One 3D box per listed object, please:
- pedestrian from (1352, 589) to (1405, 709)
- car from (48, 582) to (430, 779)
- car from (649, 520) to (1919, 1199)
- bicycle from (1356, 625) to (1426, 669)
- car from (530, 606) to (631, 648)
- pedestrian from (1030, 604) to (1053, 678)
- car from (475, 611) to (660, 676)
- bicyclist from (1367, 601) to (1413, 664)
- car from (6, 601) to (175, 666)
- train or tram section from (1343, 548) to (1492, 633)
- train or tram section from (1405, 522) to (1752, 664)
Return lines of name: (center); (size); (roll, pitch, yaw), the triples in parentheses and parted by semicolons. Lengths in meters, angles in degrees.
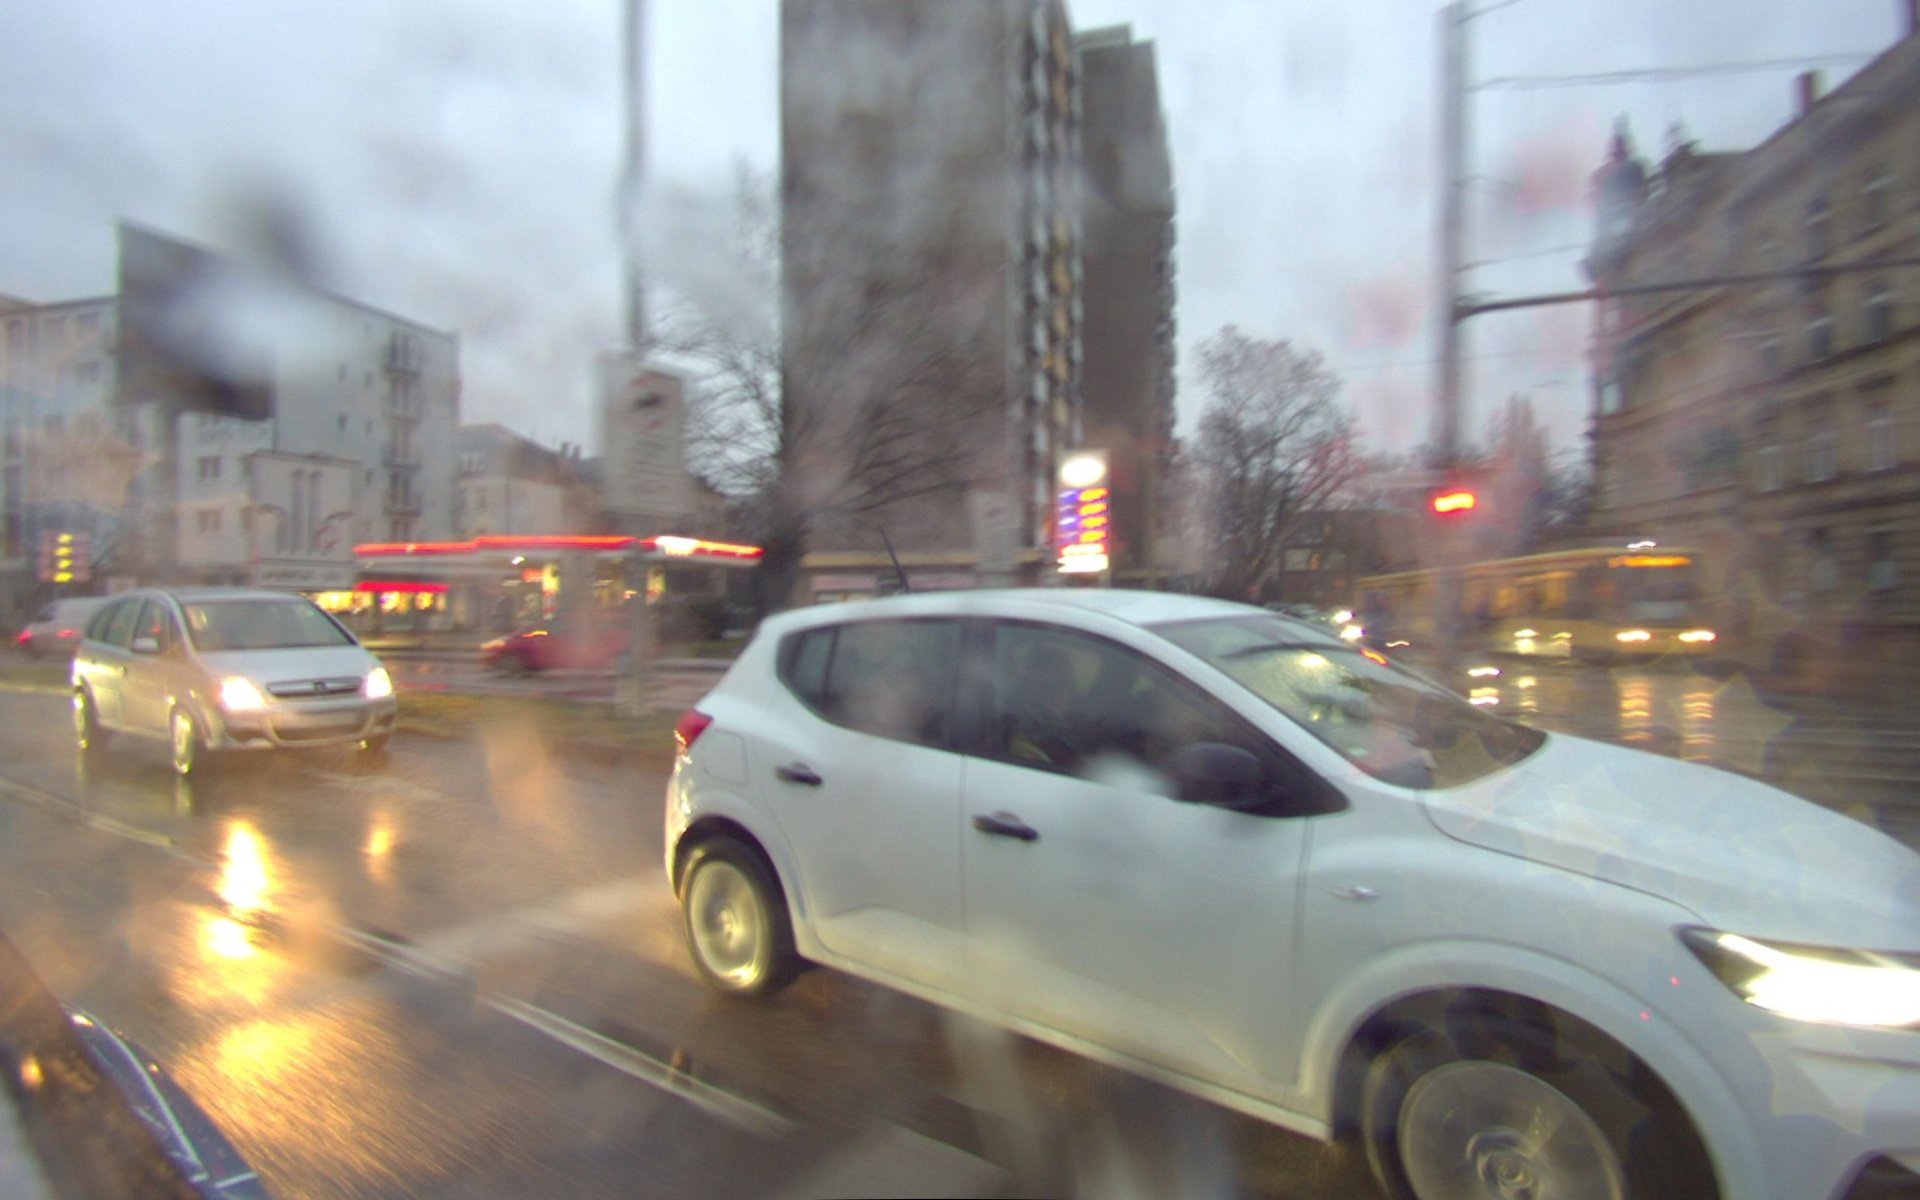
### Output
pedestrian: (6.363, 0.731, 15.388); (0.628, 1.785, 0.462); (0, 0, 40)
car: (-7.085, 0.650, 9.835); (4.097, 1.560, 1.632); (0, 0, 33)
car: (0.828, 0.659, 3.246); (3.997, 1.498, 1.609); (-1, -2, 40)
bicycle: (9.921, 1.061, 23.374); (0.498, 0.907, 1.989); (-1, 0, -9)
car: (-14.496, 1.013, 38.876); (1.761, 1.542, 3.984); (0, -1, 12)
pedestrian: (2.012, 0.997, 24.888); (0.526, 1.806, 0.627); (-1, 0, 6)
car: (-9.201, 0.999, 23.959); (3.791, 1.460, 1.652); (0, 0, -6)
bicyclist: (9.918, 0.737, 23.371); (0.498, 1.401, 0.971); (-1, 0, -9)
car: (-27.662, 1.066, 32.205); (4.820, 1.961, 1.986); (0, -3, 21)
train or tram section: (19.796, -0.419, 44.705); (3.134, 3.261, 11.119); (0, 1, 9)
train or tram section: (17.649, -0.256, 31.190); (3.134, 3.212, 16.263); (0, 1, 9)
